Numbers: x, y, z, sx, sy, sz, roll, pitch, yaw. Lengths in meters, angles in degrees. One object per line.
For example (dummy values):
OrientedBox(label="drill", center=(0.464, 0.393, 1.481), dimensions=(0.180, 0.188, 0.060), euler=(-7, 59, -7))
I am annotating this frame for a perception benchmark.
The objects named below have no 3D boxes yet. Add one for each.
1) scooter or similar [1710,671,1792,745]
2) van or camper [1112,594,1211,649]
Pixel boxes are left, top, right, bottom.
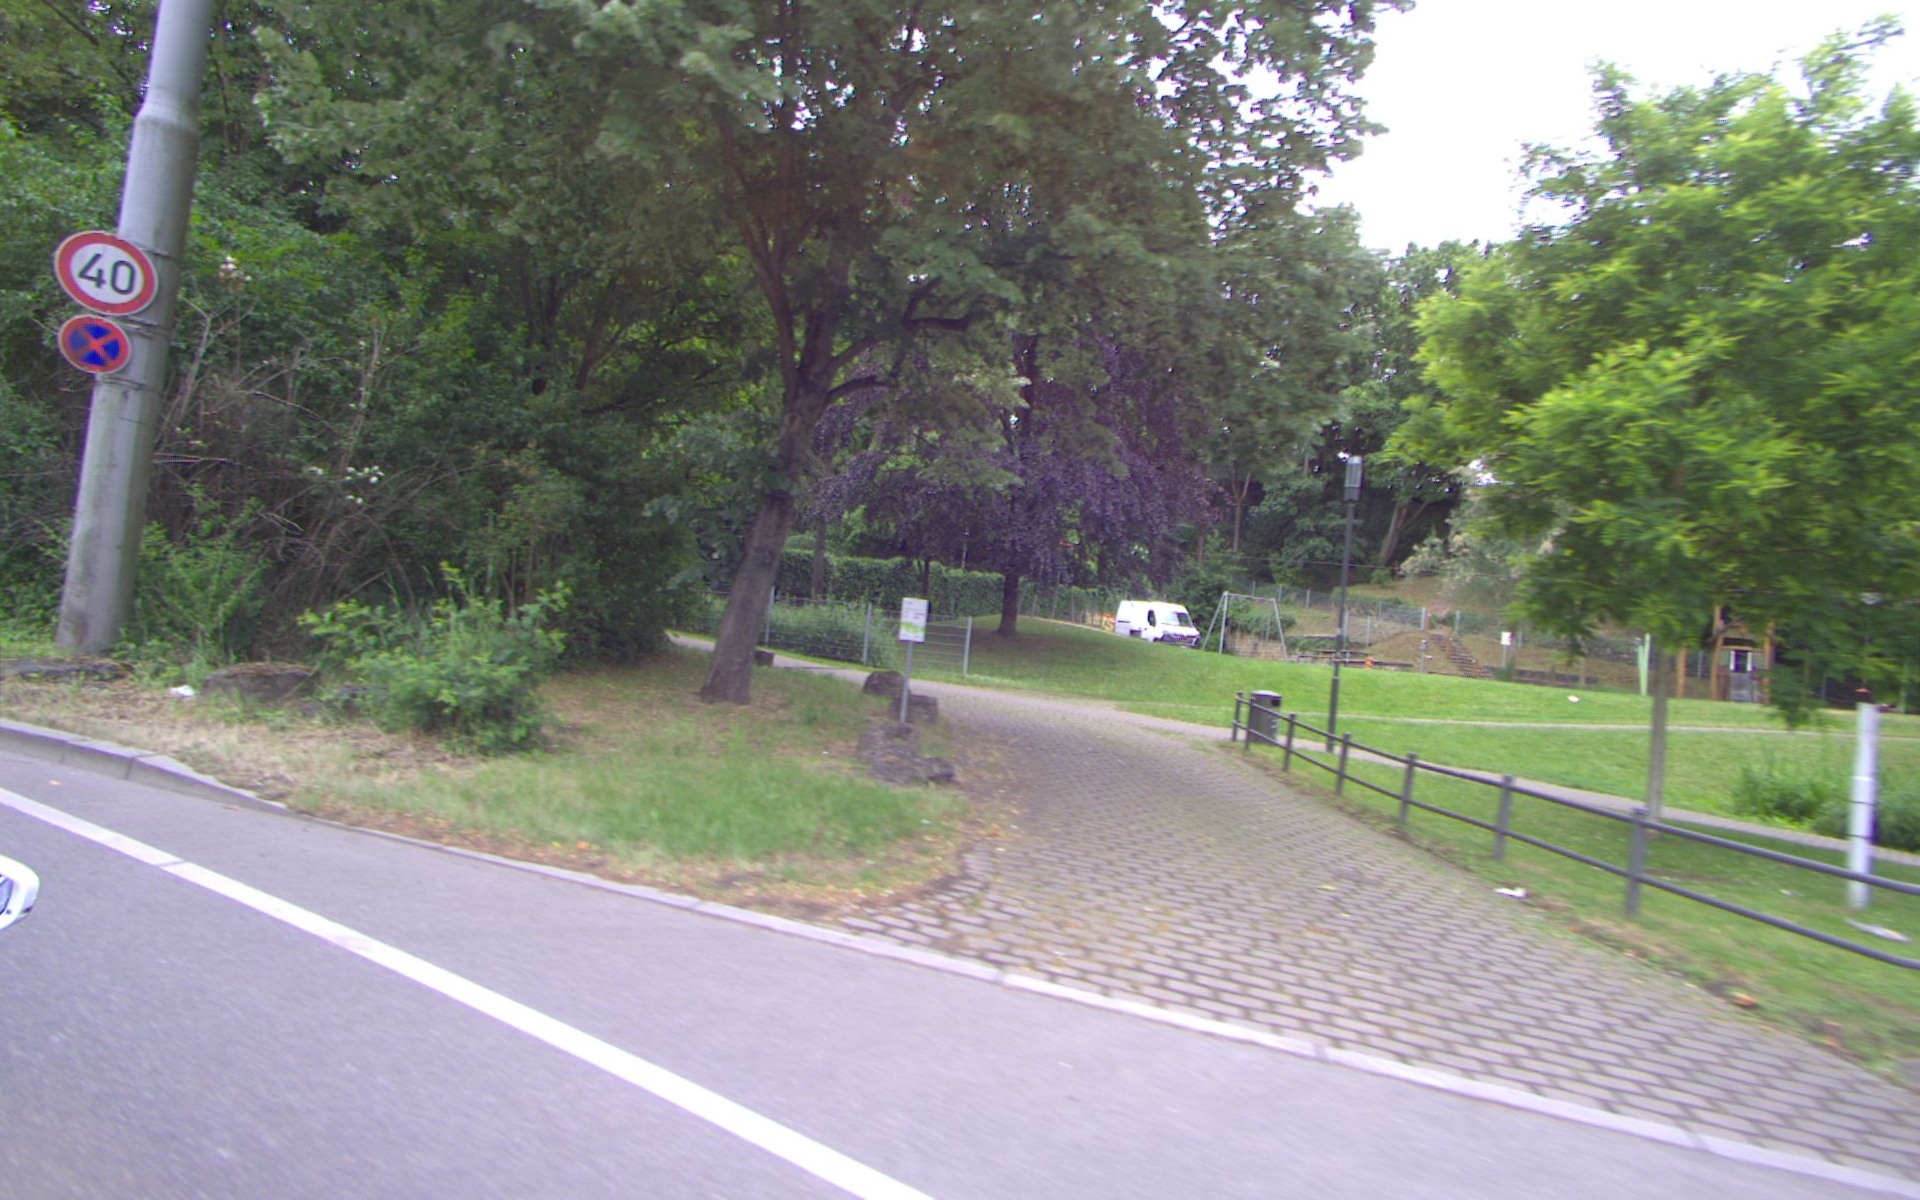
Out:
OrientedBox(label="scooter or similar", center=(15.404, 2.108, 19.590), dimensions=(1.229, 1.241, 0.499), euler=(8, 1, -17))
OrientedBox(label="van or camper", center=(9.348, 0.951, 47.226), dimensions=(2.274, 2.039, 5.425), euler=(7, 1, -13))
